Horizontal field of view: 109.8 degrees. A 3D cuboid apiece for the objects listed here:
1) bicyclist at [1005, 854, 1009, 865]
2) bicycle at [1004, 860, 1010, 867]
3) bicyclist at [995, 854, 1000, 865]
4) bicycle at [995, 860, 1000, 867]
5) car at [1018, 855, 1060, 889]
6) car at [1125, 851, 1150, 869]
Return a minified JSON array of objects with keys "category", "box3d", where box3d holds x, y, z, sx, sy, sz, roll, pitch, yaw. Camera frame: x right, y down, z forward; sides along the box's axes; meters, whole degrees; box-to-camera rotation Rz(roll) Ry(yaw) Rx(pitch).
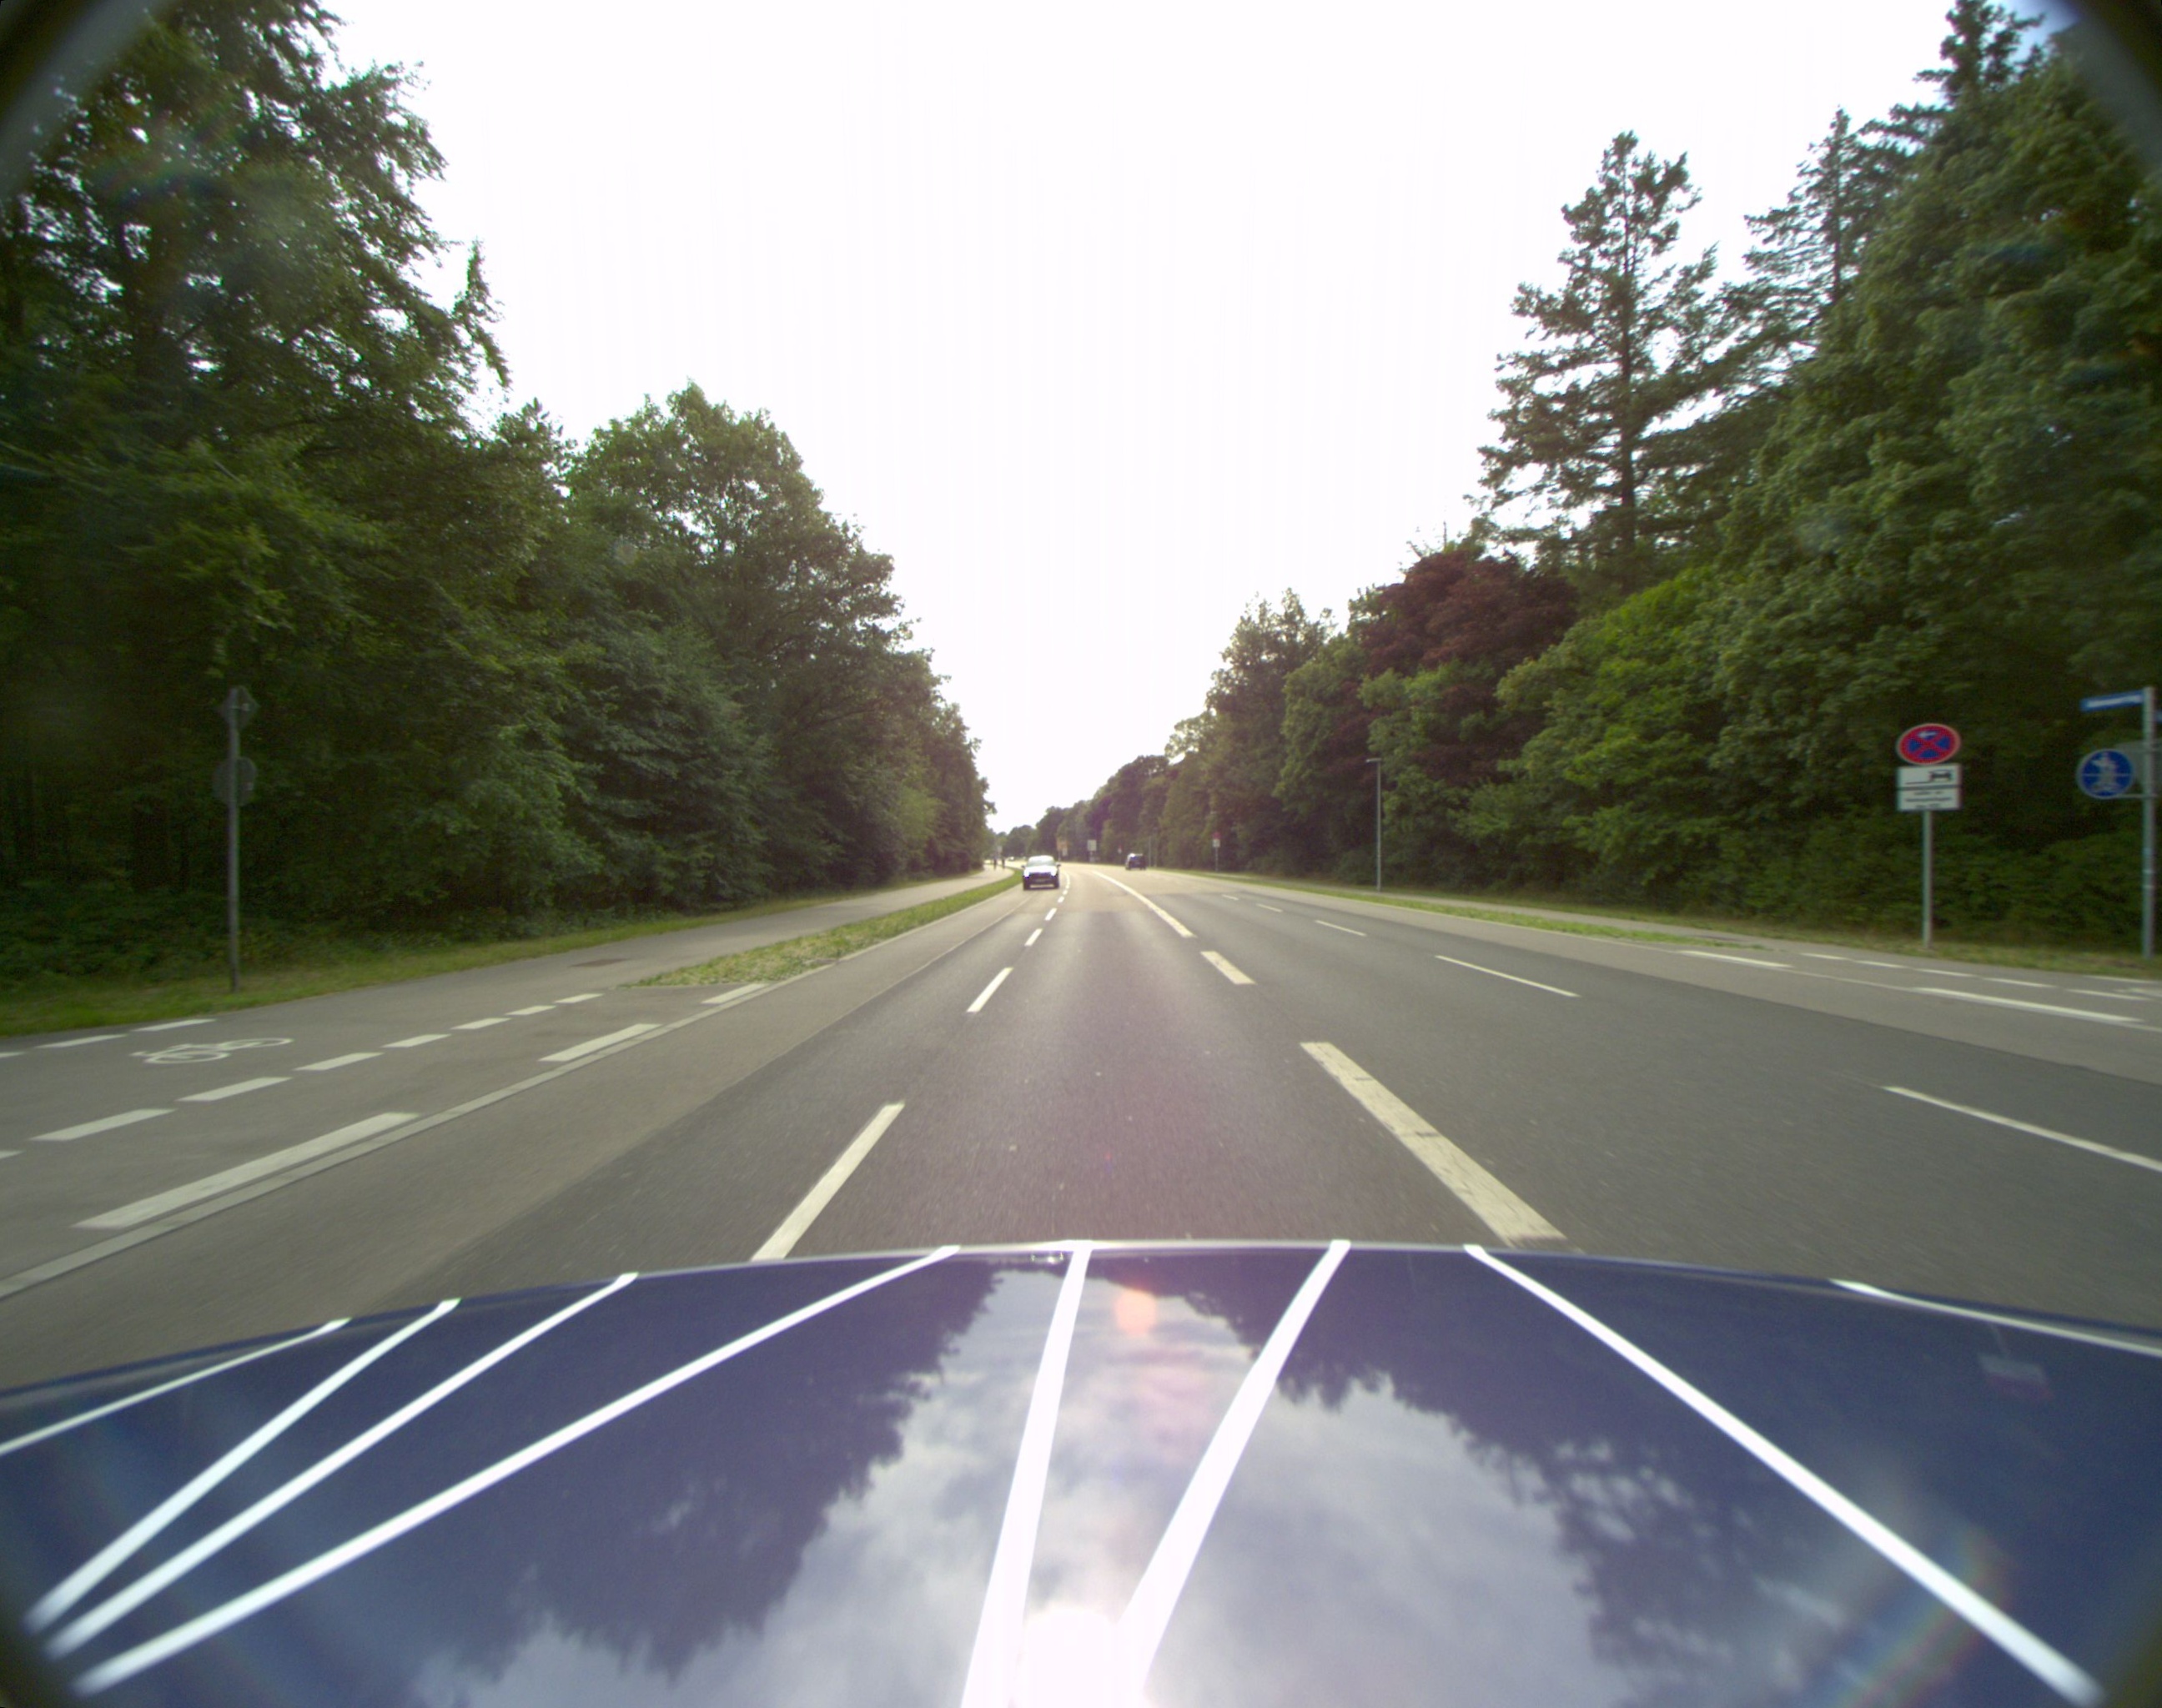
[{"category":"bicyclist","box3d":[-10.141,0.733,104.064,0.521,1.407,1.185,-1,1,-10]},{"category":"bicycle","box3d":[-10.144,1.284,104.120,0.567,0.906,1.753,1,0,-10]},{"category":"bicyclist","box3d":[-11.433,0.770,103.707,0.521,1.407,1.185,-3,1,-10]},{"category":"bicycle","box3d":[-11.414,1.303,103.797,0.567,0.906,1.886,2,-1,-10]},{"category":"car","box3d":[-2.159,0.913,40.259,1.999,1.565,3.999,-3,1,-1]},{"category":"car","box3d":[6.076,0.636,82.224,1.999,1.780,4.746,-3,1,-3]}]
